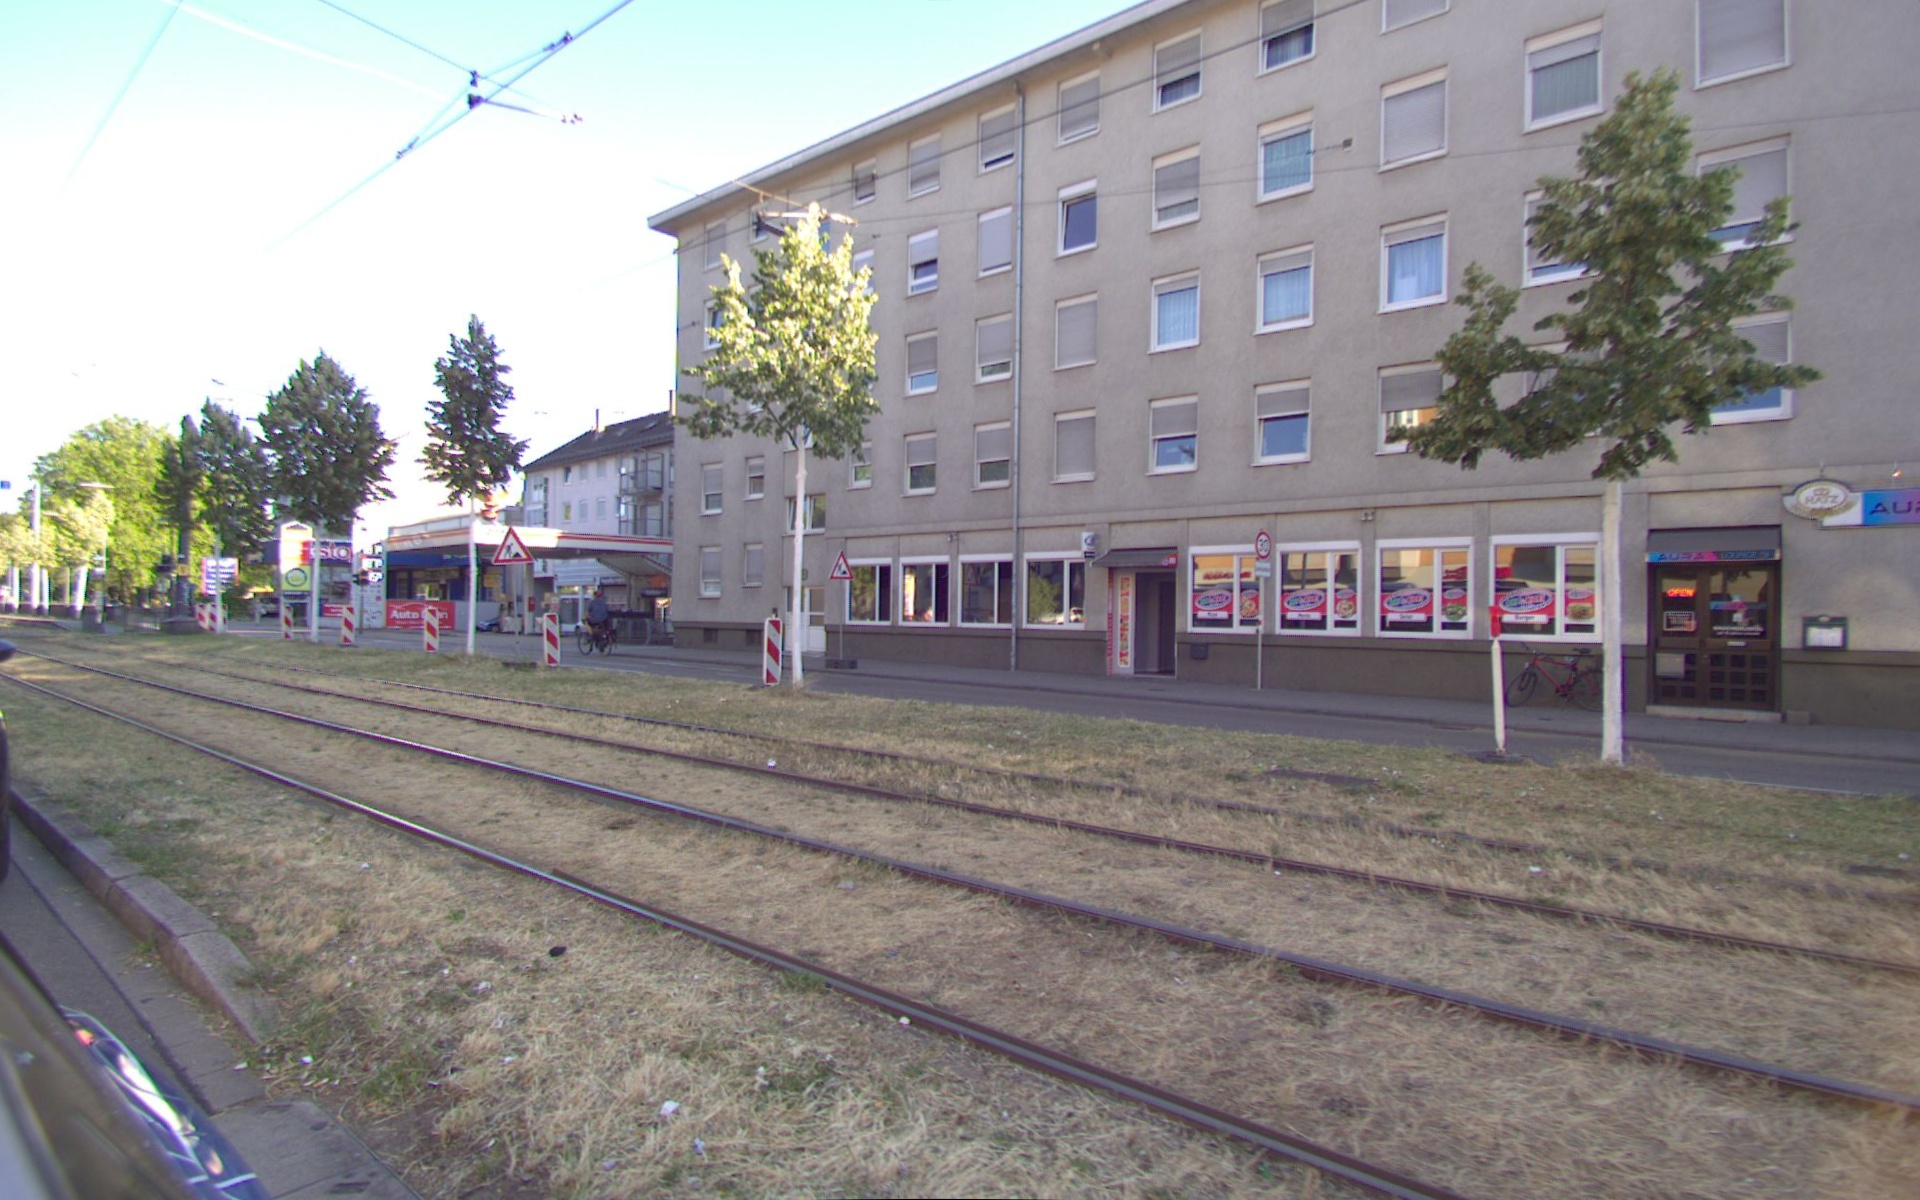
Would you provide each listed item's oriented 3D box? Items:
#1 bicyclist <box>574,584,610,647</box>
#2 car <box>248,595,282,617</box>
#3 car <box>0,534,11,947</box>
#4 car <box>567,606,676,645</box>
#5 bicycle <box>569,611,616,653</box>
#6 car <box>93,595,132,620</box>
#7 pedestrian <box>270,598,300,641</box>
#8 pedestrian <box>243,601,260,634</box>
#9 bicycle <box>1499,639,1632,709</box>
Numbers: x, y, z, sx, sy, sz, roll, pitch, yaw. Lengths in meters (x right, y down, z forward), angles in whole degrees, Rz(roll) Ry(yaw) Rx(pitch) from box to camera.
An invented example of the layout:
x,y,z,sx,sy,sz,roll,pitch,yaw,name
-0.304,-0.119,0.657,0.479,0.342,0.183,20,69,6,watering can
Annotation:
x,y,z,sx,sy,sz,roll,pitch,yaw,name
-11.253,0.464,30.941,0.808,1.897,0.645,0,-2,38,bicyclist
-52.796,0.400,76.841,1.756,1.567,4.006,0,1,-40,car
-5.984,0.568,4.803,3.998,1.690,1.752,0,-1,41,car
-13.436,1.044,40.282,1.906,1.480,3.681,-2,-3,39,car
-11.235,0.966,30.916,1.868,1.267,0.451,-1,-1,38,bicycle
-63.744,0.549,76.090,1.970,1.748,4.397,0,1,-44,car
-20.896,0.598,31.320,0.581,1.280,0.655,-1,-1,41,pedestrian
-44.108,1.092,63.003,0.583,2.028,0.624,0,3,42,pedestrian
10.167,1.216,17.027,1.844,1.031,0.601,1,1,41,bicycle
